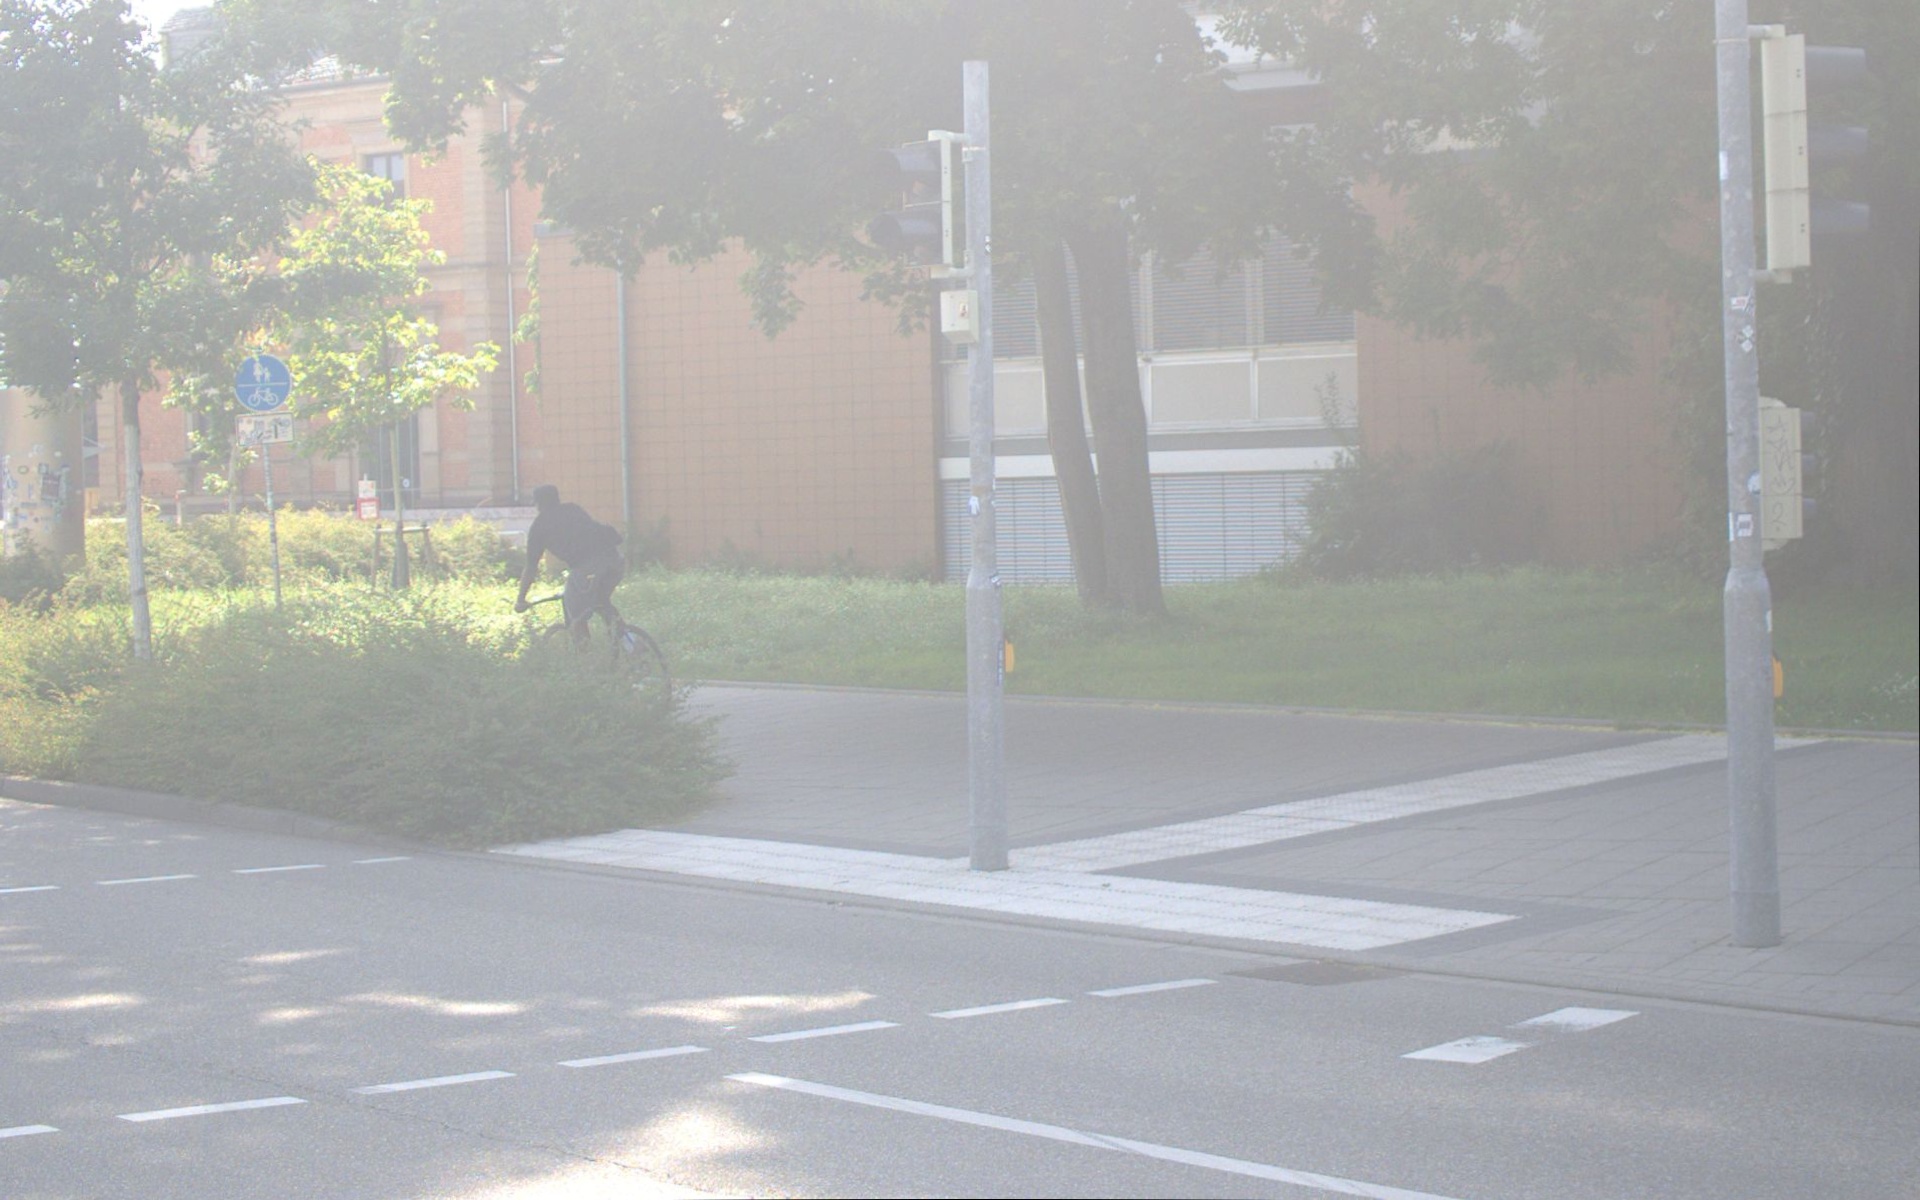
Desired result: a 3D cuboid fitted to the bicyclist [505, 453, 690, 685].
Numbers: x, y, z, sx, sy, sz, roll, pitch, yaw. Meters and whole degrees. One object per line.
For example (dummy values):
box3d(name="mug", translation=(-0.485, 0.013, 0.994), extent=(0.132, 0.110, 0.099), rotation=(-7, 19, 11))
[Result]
box3d(name="bicyclist", translation=(-2.525, -0.226, 23.967), extent=(0.989, 1.573, 0.773), rotation=(0, 2, 38))

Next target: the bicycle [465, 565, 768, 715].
box3d(name="bicycle", translation=(-2.402, 0.260, 23.895), extent=(2.148, 0.972, 0.773), rotation=(0, 2, 38))
